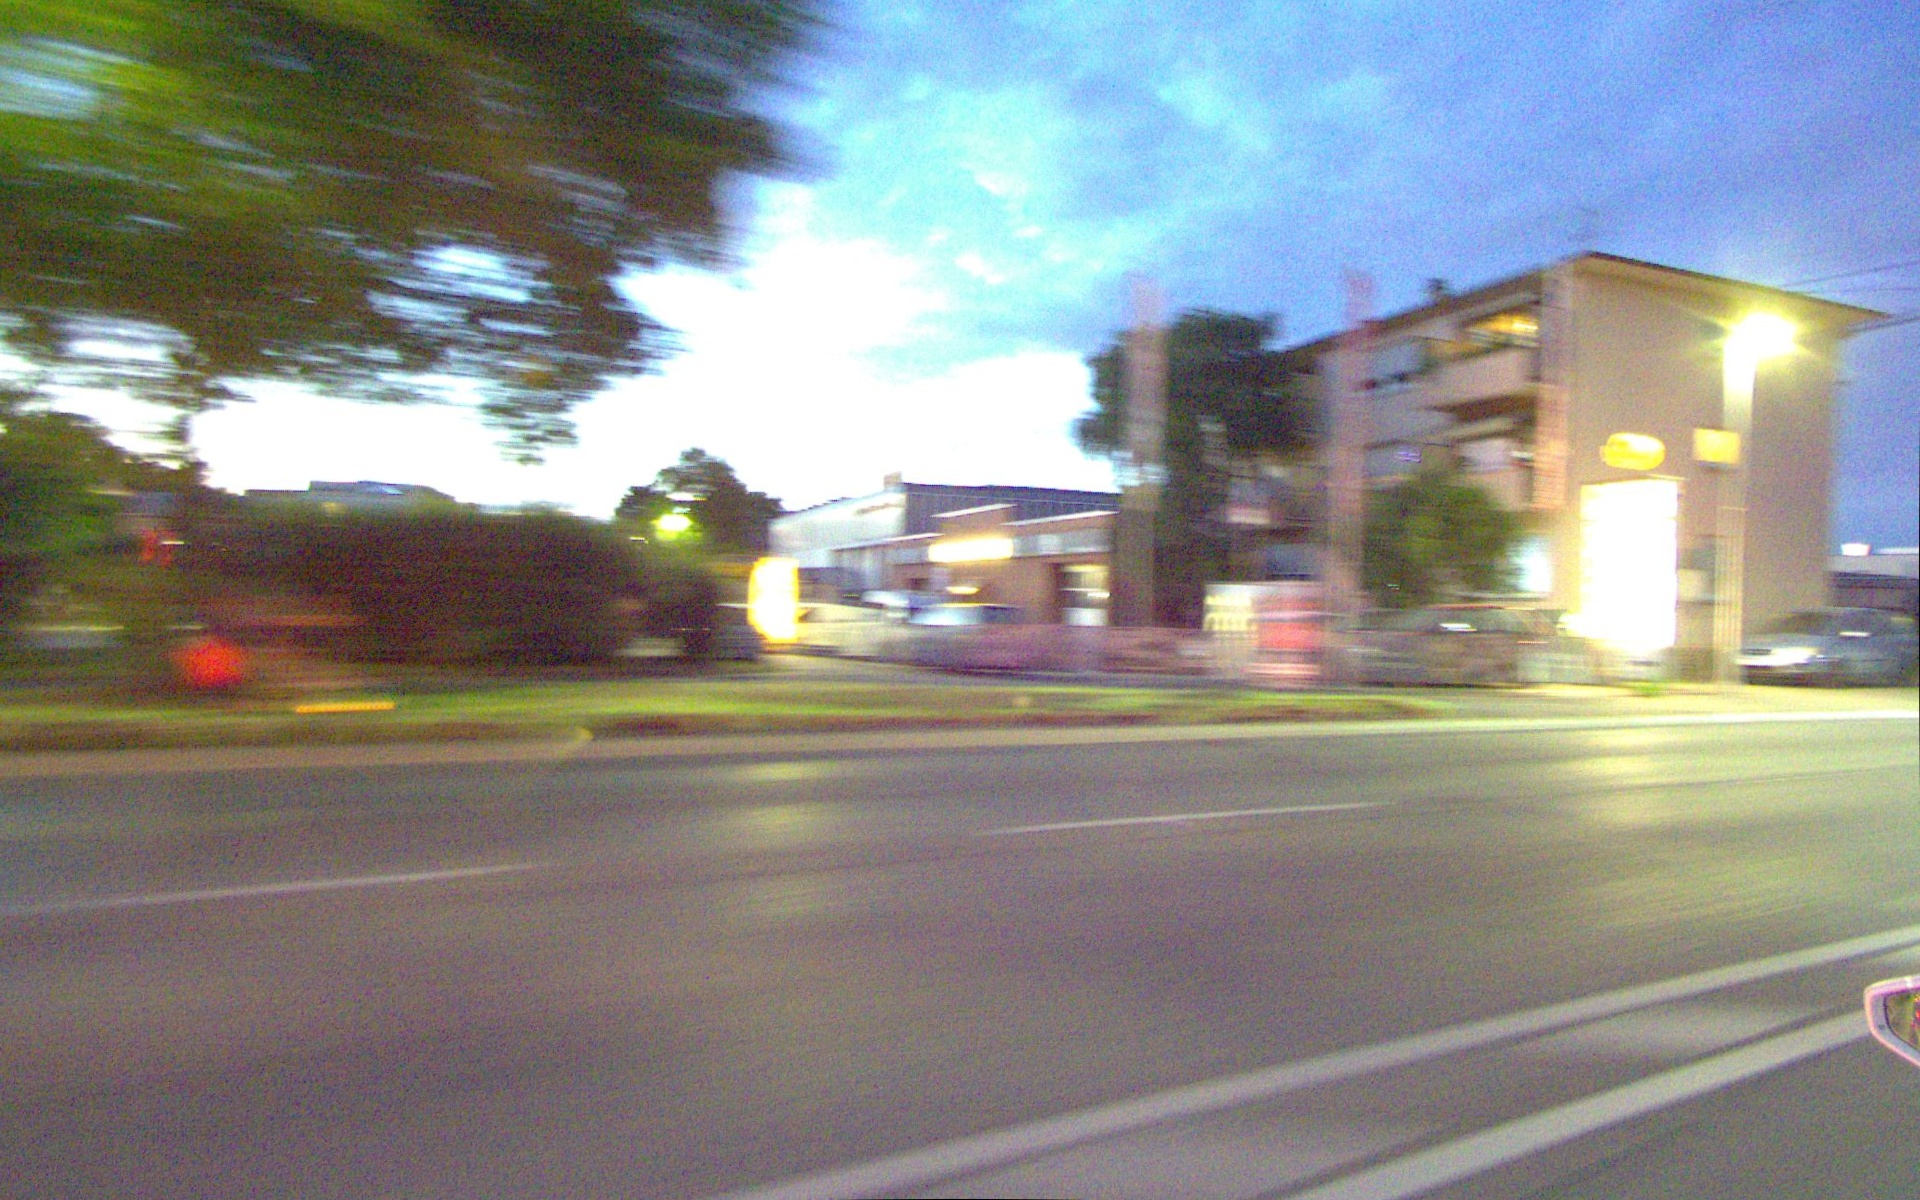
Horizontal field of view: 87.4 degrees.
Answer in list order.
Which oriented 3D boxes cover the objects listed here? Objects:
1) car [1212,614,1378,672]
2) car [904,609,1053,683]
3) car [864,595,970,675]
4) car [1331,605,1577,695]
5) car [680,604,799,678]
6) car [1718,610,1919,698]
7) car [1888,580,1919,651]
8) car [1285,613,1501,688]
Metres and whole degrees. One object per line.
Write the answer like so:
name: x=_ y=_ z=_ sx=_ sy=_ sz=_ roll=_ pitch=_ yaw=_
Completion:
car: x=7.427 y=0.942 z=22.417 sx=3.153 sy=1.147 sz=1.548 roll=1 pitch=0 yaw=-6
car: x=0.294 y=0.925 z=20.624 sx=1.479 sy=1.377 sz=3.487 roll=2 pitch=-2 yaw=-29
car: x=-1.819 y=1.261 z=39.300 sx=2.177 sy=2.647 sz=5.967 roll=0 pitch=3 yaw=-23
car: x=8.708 y=0.864 z=17.865 sx=3.629 sy=1.439 sz=1.548 roll=1 pitch=0 yaw=-5
car: x=-4.894 y=0.870 z=21.885 sx=1.871 sy=1.457 sz=3.755 roll=0 pitch=-2 yaw=-23
car: x=17.885 y=1.081 z=20.607 sx=4.388 sy=1.629 sz=1.751 roll=2 pitch=0 yaw=-23
car: x=29.715 y=0.477 z=29.549 sx=3.941 sy=2.041 sz=1.989 roll=0 pitch=3 yaw=-22
car: x=8.561 y=0.987 z=20.001 sx=3.629 sy=1.329 sz=1.548 roll=1 pitch=0 yaw=-5
